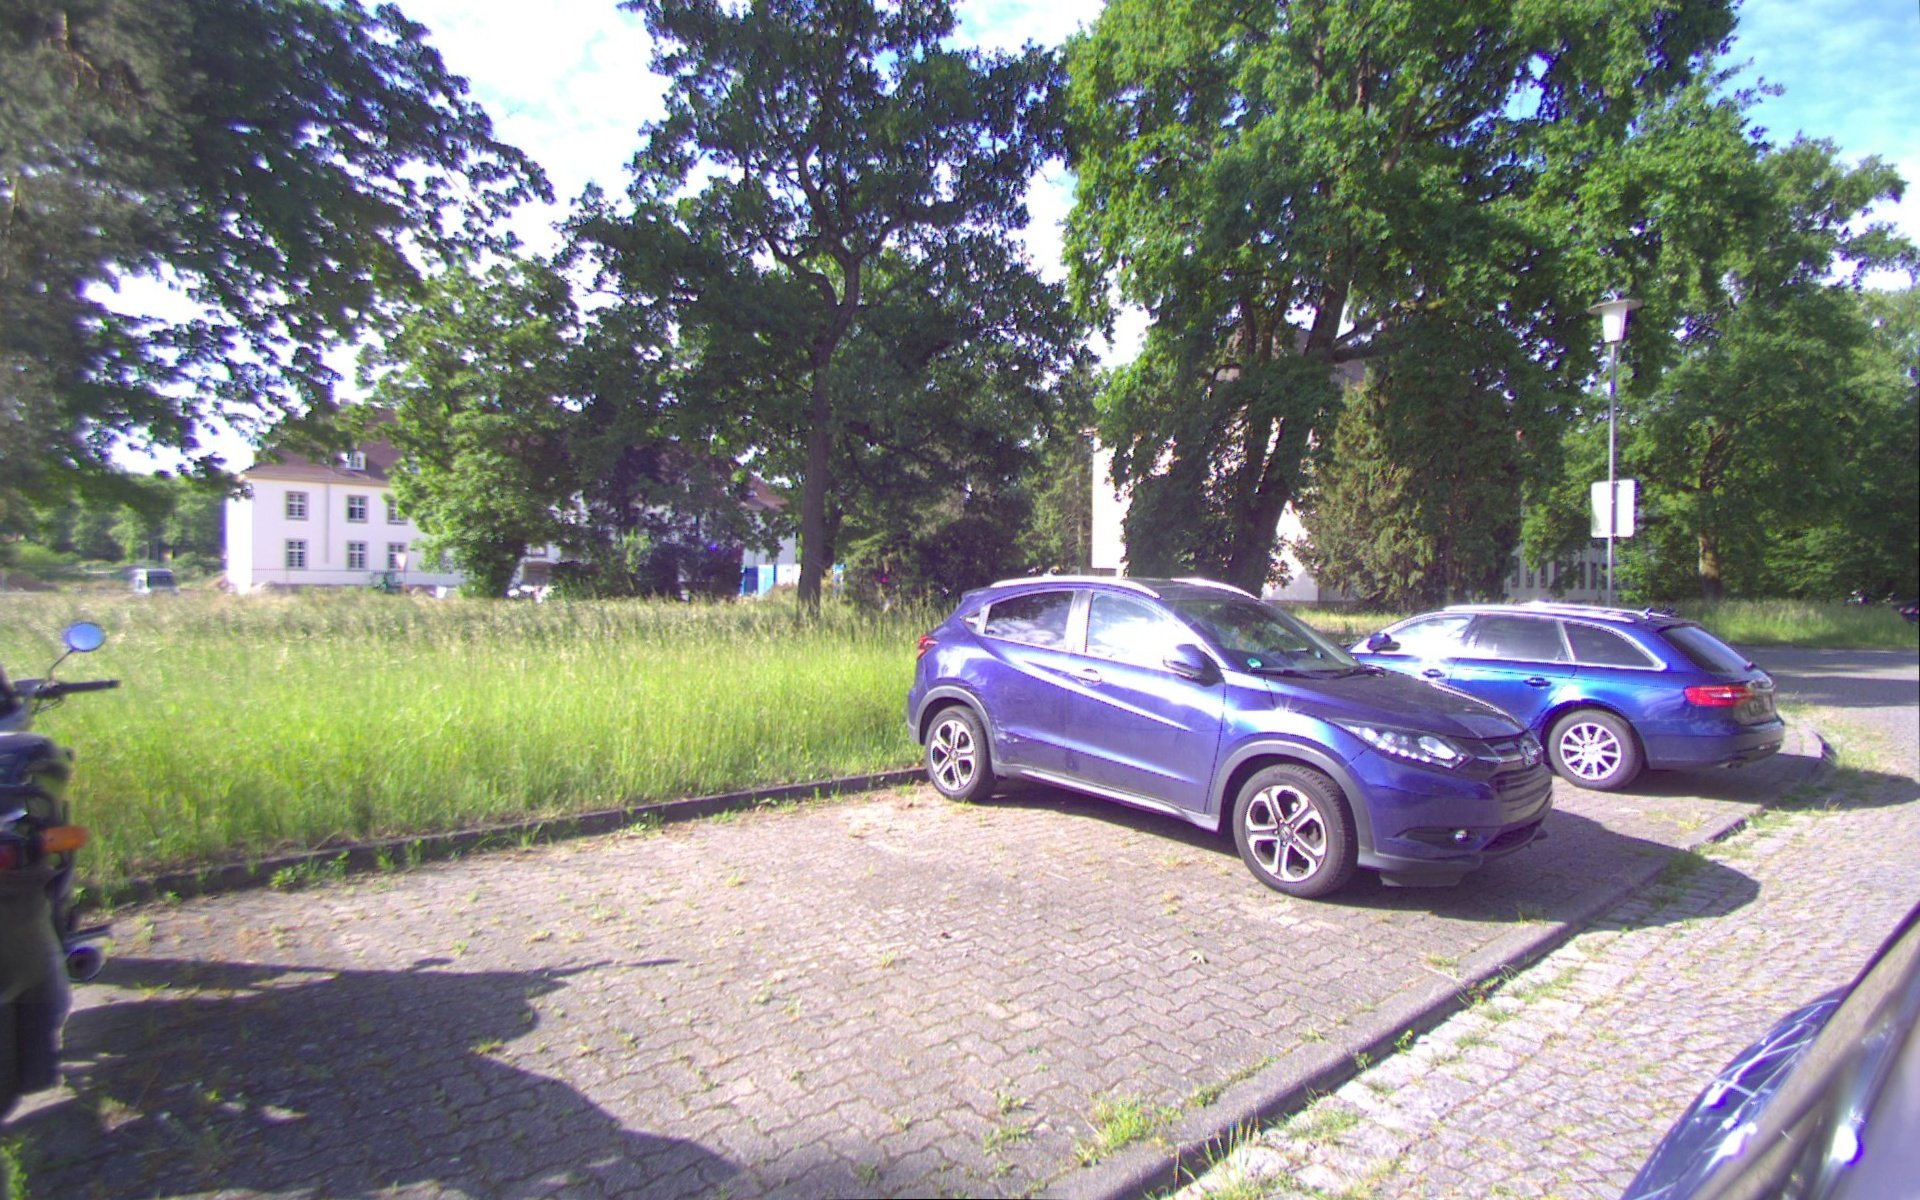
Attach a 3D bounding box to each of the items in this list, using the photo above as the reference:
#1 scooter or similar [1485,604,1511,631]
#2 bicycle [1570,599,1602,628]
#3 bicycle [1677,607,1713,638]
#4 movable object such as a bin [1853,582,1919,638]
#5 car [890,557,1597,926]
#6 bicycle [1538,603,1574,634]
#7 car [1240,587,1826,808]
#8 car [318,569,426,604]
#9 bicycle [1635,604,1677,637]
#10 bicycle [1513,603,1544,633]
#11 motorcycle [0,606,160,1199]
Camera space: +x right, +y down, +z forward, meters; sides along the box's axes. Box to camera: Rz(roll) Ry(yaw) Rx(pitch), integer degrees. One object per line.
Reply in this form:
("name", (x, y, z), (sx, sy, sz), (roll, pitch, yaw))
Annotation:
("scooter or similar", (19.007, 0.613, 35.780), (0.767, 0.941, 0.257), (1, 1, 44))
("bicycle", (23.645, 0.507, 38.254), (0.700, 1.029, 1.024), (1, 1, 12))
("bicycle", (23.284, 0.711, 32.046), (1.122, 0.946, 0.746), (0, 1, -44))
("movable object such as a bin", (31.981, 0.336, 32.232), (1.959, 1.781, 4.949), (0, 1, -26))
("car", (1.490, 0.577, 6.582), (1.721, 1.611, 4.184), (0, 1, -41))
("bicycle", (20.823, 0.643, 35.347), (1.007, 1.029, 0.711), (0, 1, -34))
("car", (5.013, 0.675, 9.498), (1.682, 1.425, 4.462), (0, 2, -38))
("car", (-39.370, -0.924, 67.934), (5.888, 2.198, 2.381), (-1, 1, -19))
("bicycle", (22.365, 0.654, 32.513), (1.232, 1.029, 0.711), (0, 1, -34))
("bicycle", (20.055, 0.629, 35.685), (1.008, 1.029, 0.619), (0, 1, -38))
("motorcycle", (-2.998, 0.731, 3.134), (0.713, 1.336, 2.304), (0, 2, -41))
